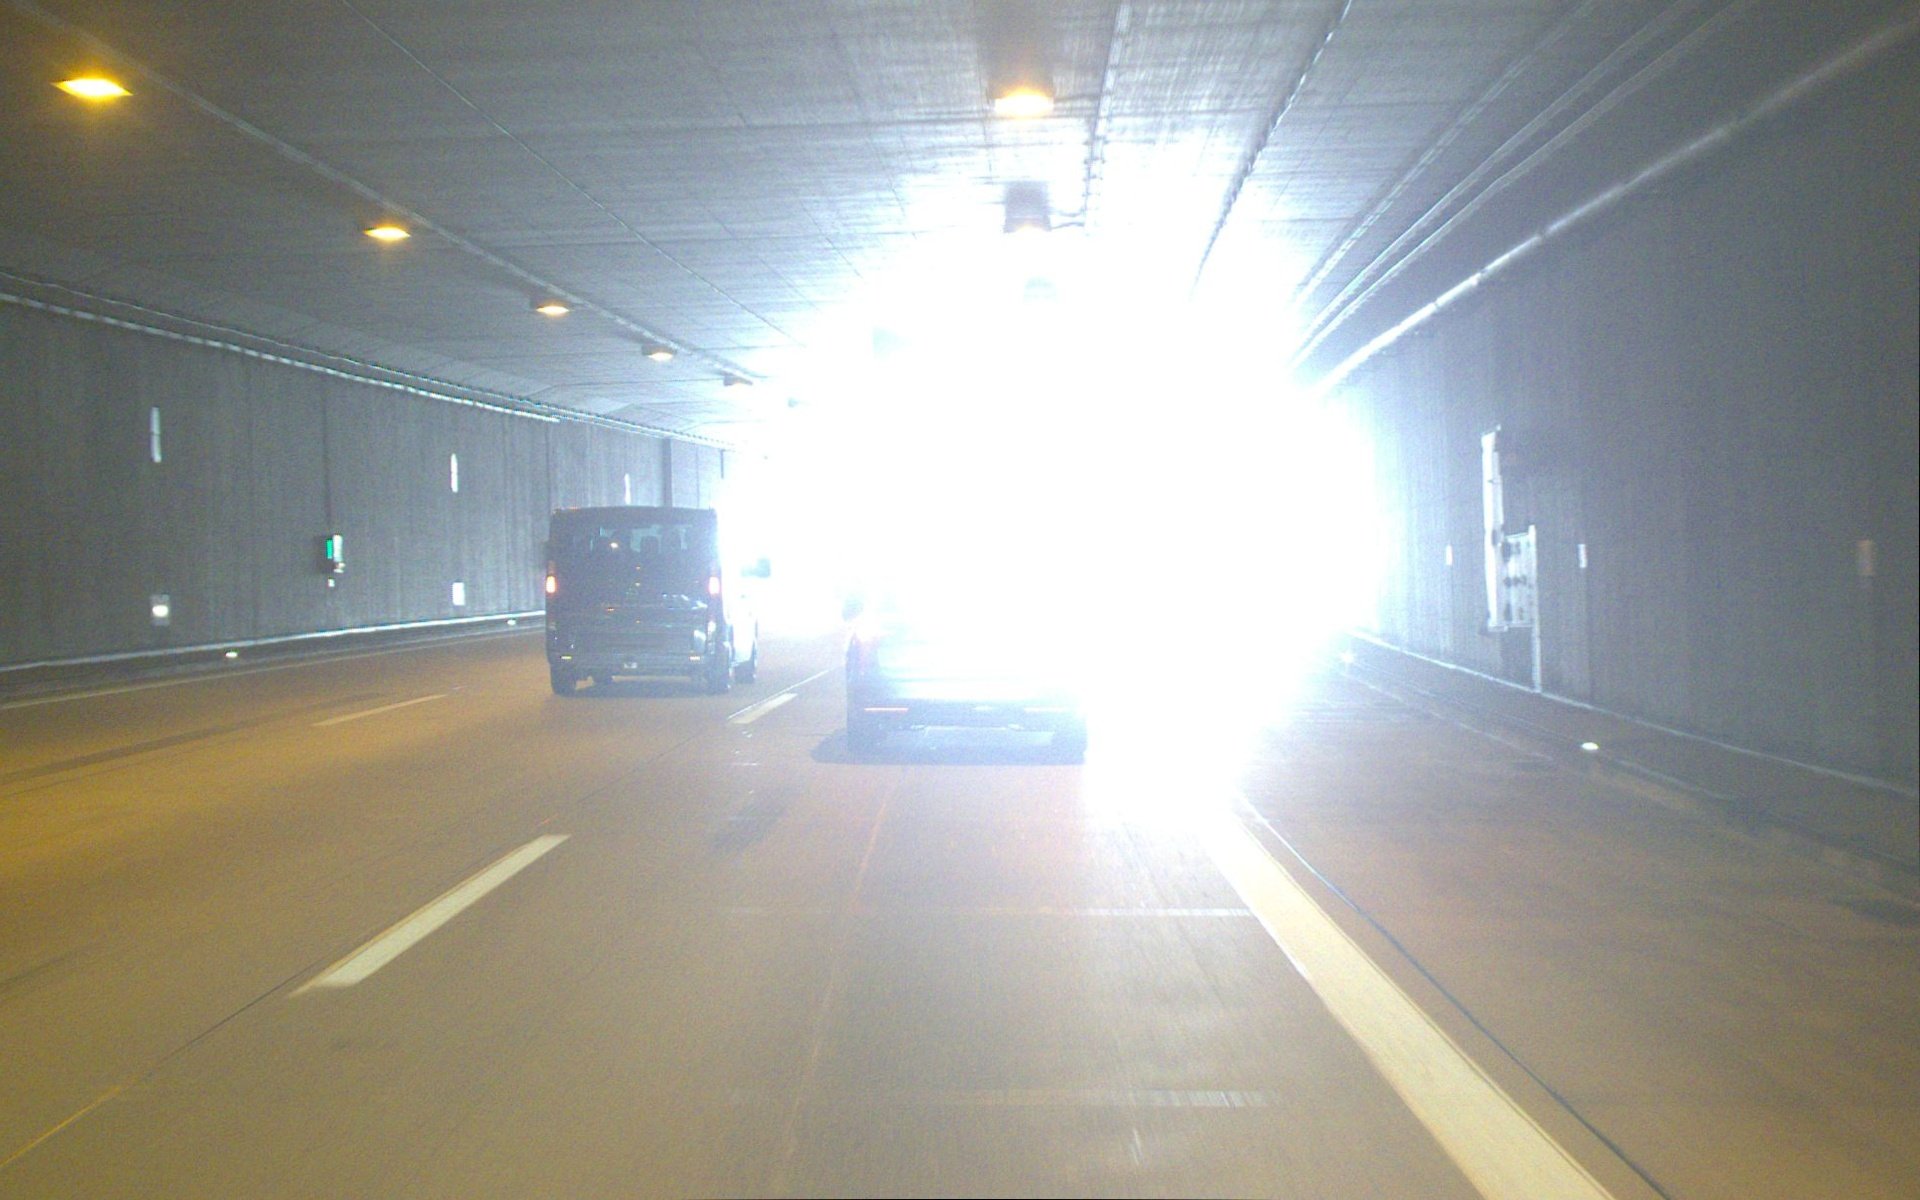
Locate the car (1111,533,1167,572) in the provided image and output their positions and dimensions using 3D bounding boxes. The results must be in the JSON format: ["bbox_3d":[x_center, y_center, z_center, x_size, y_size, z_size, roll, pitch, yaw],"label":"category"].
[{"bbox_3d":[7.982,-2.119,153.137,1.994,1.626,3.998,0,-1,10],"label":"car"}]

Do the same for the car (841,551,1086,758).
[{"bbox_3d":[0.084,0.360,26.386,1.742,1.459,3.871,0,1,2],"label":"car"}]

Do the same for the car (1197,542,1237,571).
[{"bbox_3d":[15.292,-2.568,204.237,1.994,1.626,3.998,0,-1,10],"label":"car"}]

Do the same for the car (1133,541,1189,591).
[{"bbox_3d":[7.211,-1.188,123.094,1.931,1.637,3.999,0,-2,5],"label":"car"}]

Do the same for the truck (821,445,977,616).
[{"bbox_3d":[-1.288,-1.537,77.341,3.039,3.661,7.392,0,1,3],"label":"truck"}]

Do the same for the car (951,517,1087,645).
[{"bbox_3d":[0.923,-0.302,51.713,1.857,1.848,4.000,0,1,4],"label":"car"}]

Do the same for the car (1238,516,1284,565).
[{"bbox_3d":[13.403,-2.625,153.046,1.994,2.007,3.999,0,-2,5],"label":"car"}]

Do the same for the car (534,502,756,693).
[{"bbox_3d":[-3.309,-0.057,36.777,1.910,1.938,3.871,0,1,2],"label":"car"}]
